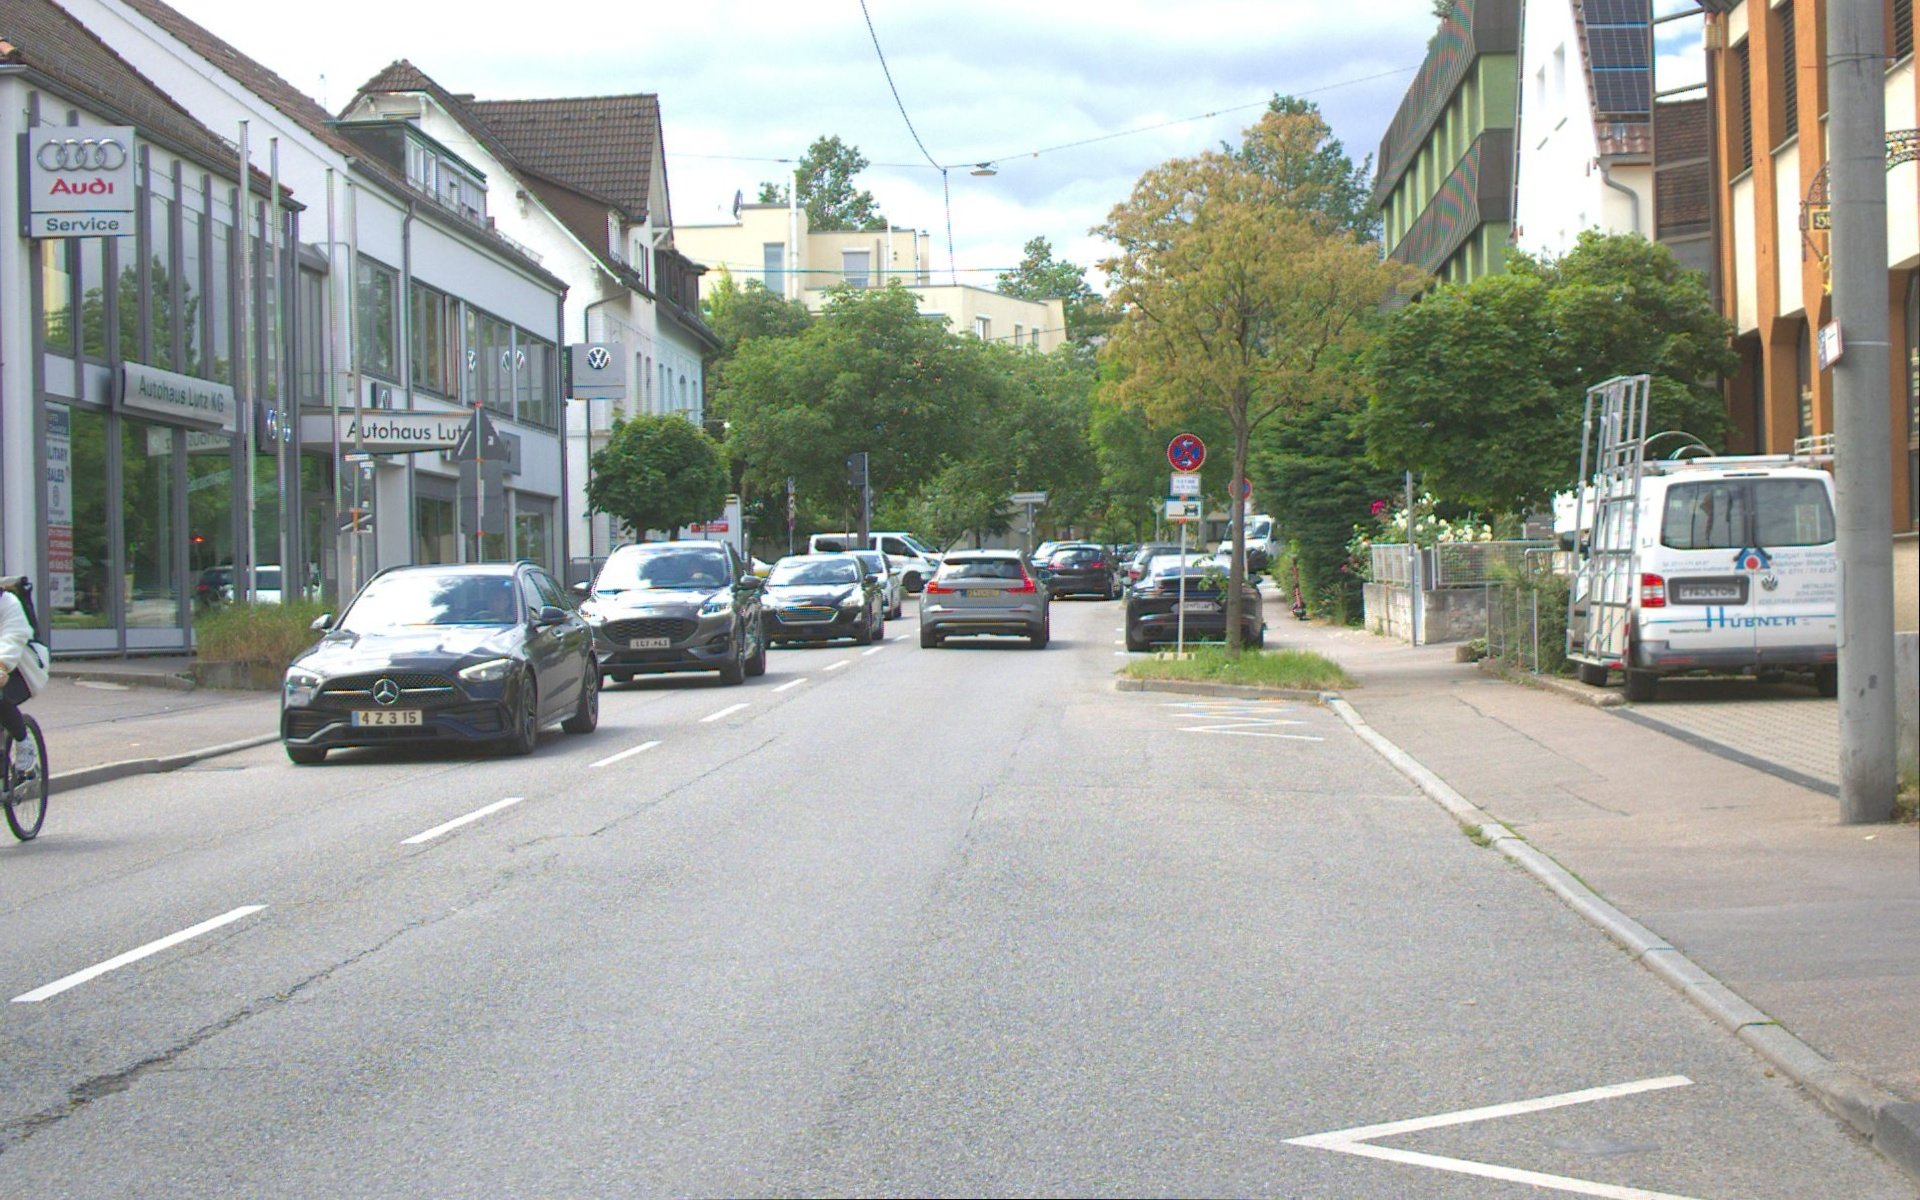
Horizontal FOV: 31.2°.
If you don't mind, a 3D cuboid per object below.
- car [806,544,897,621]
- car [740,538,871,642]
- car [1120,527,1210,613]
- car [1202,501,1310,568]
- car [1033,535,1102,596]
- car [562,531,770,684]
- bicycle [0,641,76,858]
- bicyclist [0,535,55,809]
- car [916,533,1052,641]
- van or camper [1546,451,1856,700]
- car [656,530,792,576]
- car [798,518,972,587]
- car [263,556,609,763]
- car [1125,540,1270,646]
[{"bbox_3d":[-2.325,-0.376,74.202,1.690,1.574,3.800,-1,0,2],"label":"car"},{"bbox_3d":[-2.380,-0.156,53.879,1.831,1.518,4.171,-1,0,0],"label":"car"},{"bbox_3d":[4.192,-0.601,69.840,1.690,1.661,4.461,-1,0,5],"label":"car"},{"bbox_3d":[11.592,-2.583,134.423,2.066,2.345,5.175,-3,1,30],"label":"car"},{"bbox_3d":[2.745,-0.870,88.426,1.614,1.518,3.569,-1,0,0],"label":"car"},{"bbox_3d":[-3.317,0.039,39.543,1.831,1.624,4.321,-1,1,2],"label":"car"},{"bbox_3d":[-5.225,0.795,18.442,0.454,1.083,1.870,-3,1,0],"label":"bicycle"},{"bbox_3d":[-5.264,0.385,18.560,0.469,1.444,0.865,-3,1,0],"label":"bicyclist"},{"bbox_3d":[0.408,-0.163,52.191,1.956,1.518,4.328,-1,-1,2],"label":"car"},{"bbox_3d":[6.422,-0.201,30.270,1.867,2.025,4.547,0,0,2],"label":"van or camper"},{"bbox_3d":[-7.668,-1.510,111.732,4.019,1.408,1.814,0,-1,15],"label":"car"},{"bbox_3d":[-2.472,-1.557,113.397,5.217,1.987,2.106,-3,1,19],"label":"car"},{"bbox_3d":[-3.998,0.398,26.942,1.740,1.424,4.523,-2,1,3],"label":"car"},{"bbox_3d":[3.444,-0.104,50.613,1.984,1.443,4.751,-1,0,3],"label":"car"}]
